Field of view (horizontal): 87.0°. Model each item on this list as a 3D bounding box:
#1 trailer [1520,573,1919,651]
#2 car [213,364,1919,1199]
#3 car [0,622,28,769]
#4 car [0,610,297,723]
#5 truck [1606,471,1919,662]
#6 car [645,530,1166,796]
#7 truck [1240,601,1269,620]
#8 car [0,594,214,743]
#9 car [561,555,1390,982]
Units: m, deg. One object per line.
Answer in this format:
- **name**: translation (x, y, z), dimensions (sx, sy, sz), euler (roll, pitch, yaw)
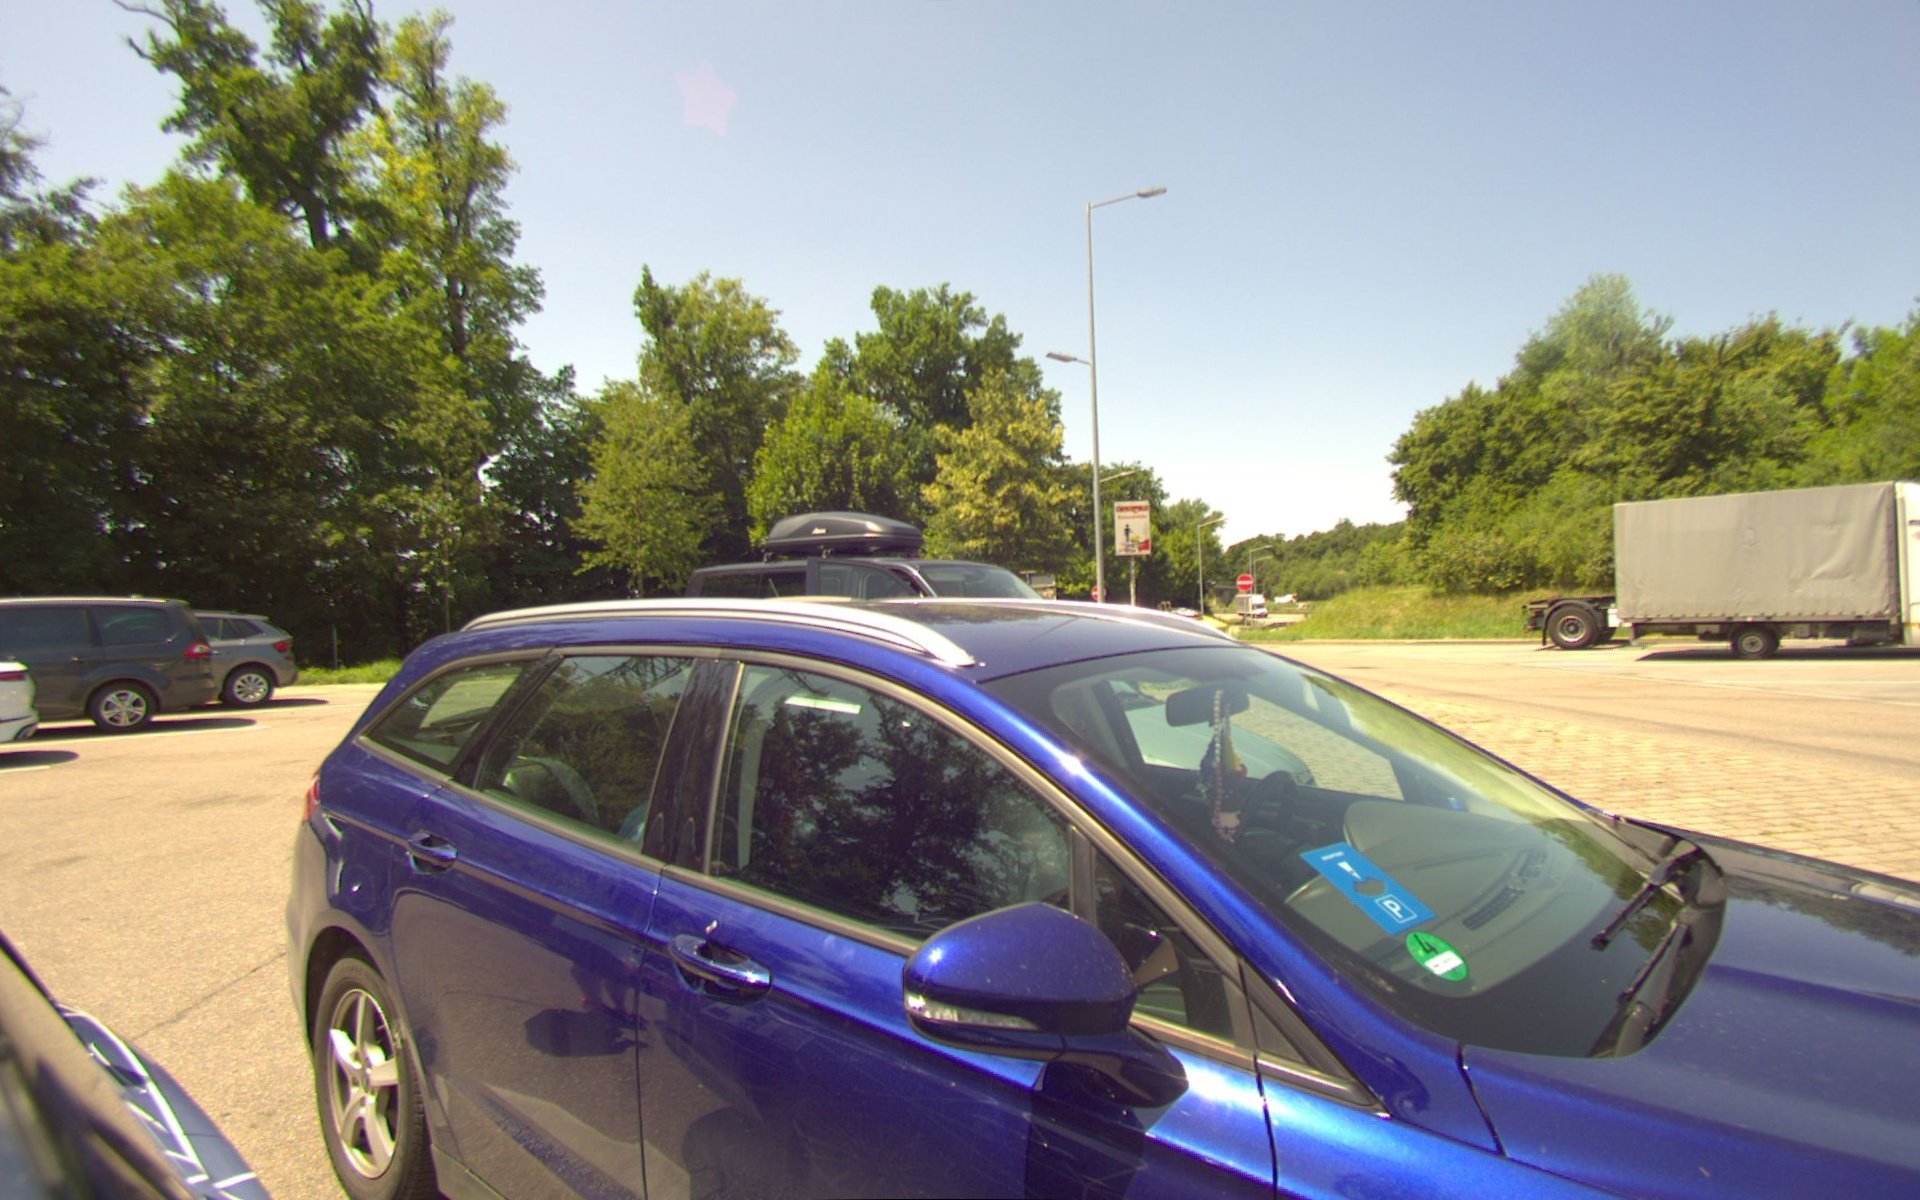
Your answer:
- **trailer**: translation (17.624, 0.312, 23.160), dimensions (8.088, 1.385, 2.200), euler (-4, -1, 41)
- **car**: translation (0.233, 0.630, 2.081), dimensions (4.637, 1.493, 1.720), euler (-2, -1, 39)
- **car**: translation (-11.010, 0.927, 9.168), dimensions (3.767, 1.396, 1.722), euler (0, -1, -43)
- **car**: translation (-12.606, 0.950, 15.713), dimensions (3.762, 1.551, 1.724), euler (0, -1, -38)
- **truck**: translation (16.695, -0.601, 18.939), dimensions (7.337, 3.235, 2.502), euler (-4, -1, 41)
- **car**: translation (-0.672, 0.507, 9.367), dimensions (4.635, 1.884, 1.937), euler (-2, 0, 37)
- **truck**: translation (48.270, 1.670, 166.011), dimensions (2.427, 2.980, 5.849), euler (-1, 0, -8)
- **car**: translation (-11.668, 0.817, 12.632), dimensions (3.762, 1.737, 1.724), euler (0, -1, -38)
- **car**: translation (-0.229, 0.668, 5.793), dimensions (4.637, 1.545, 1.720), euler (-2, 0, 39)
